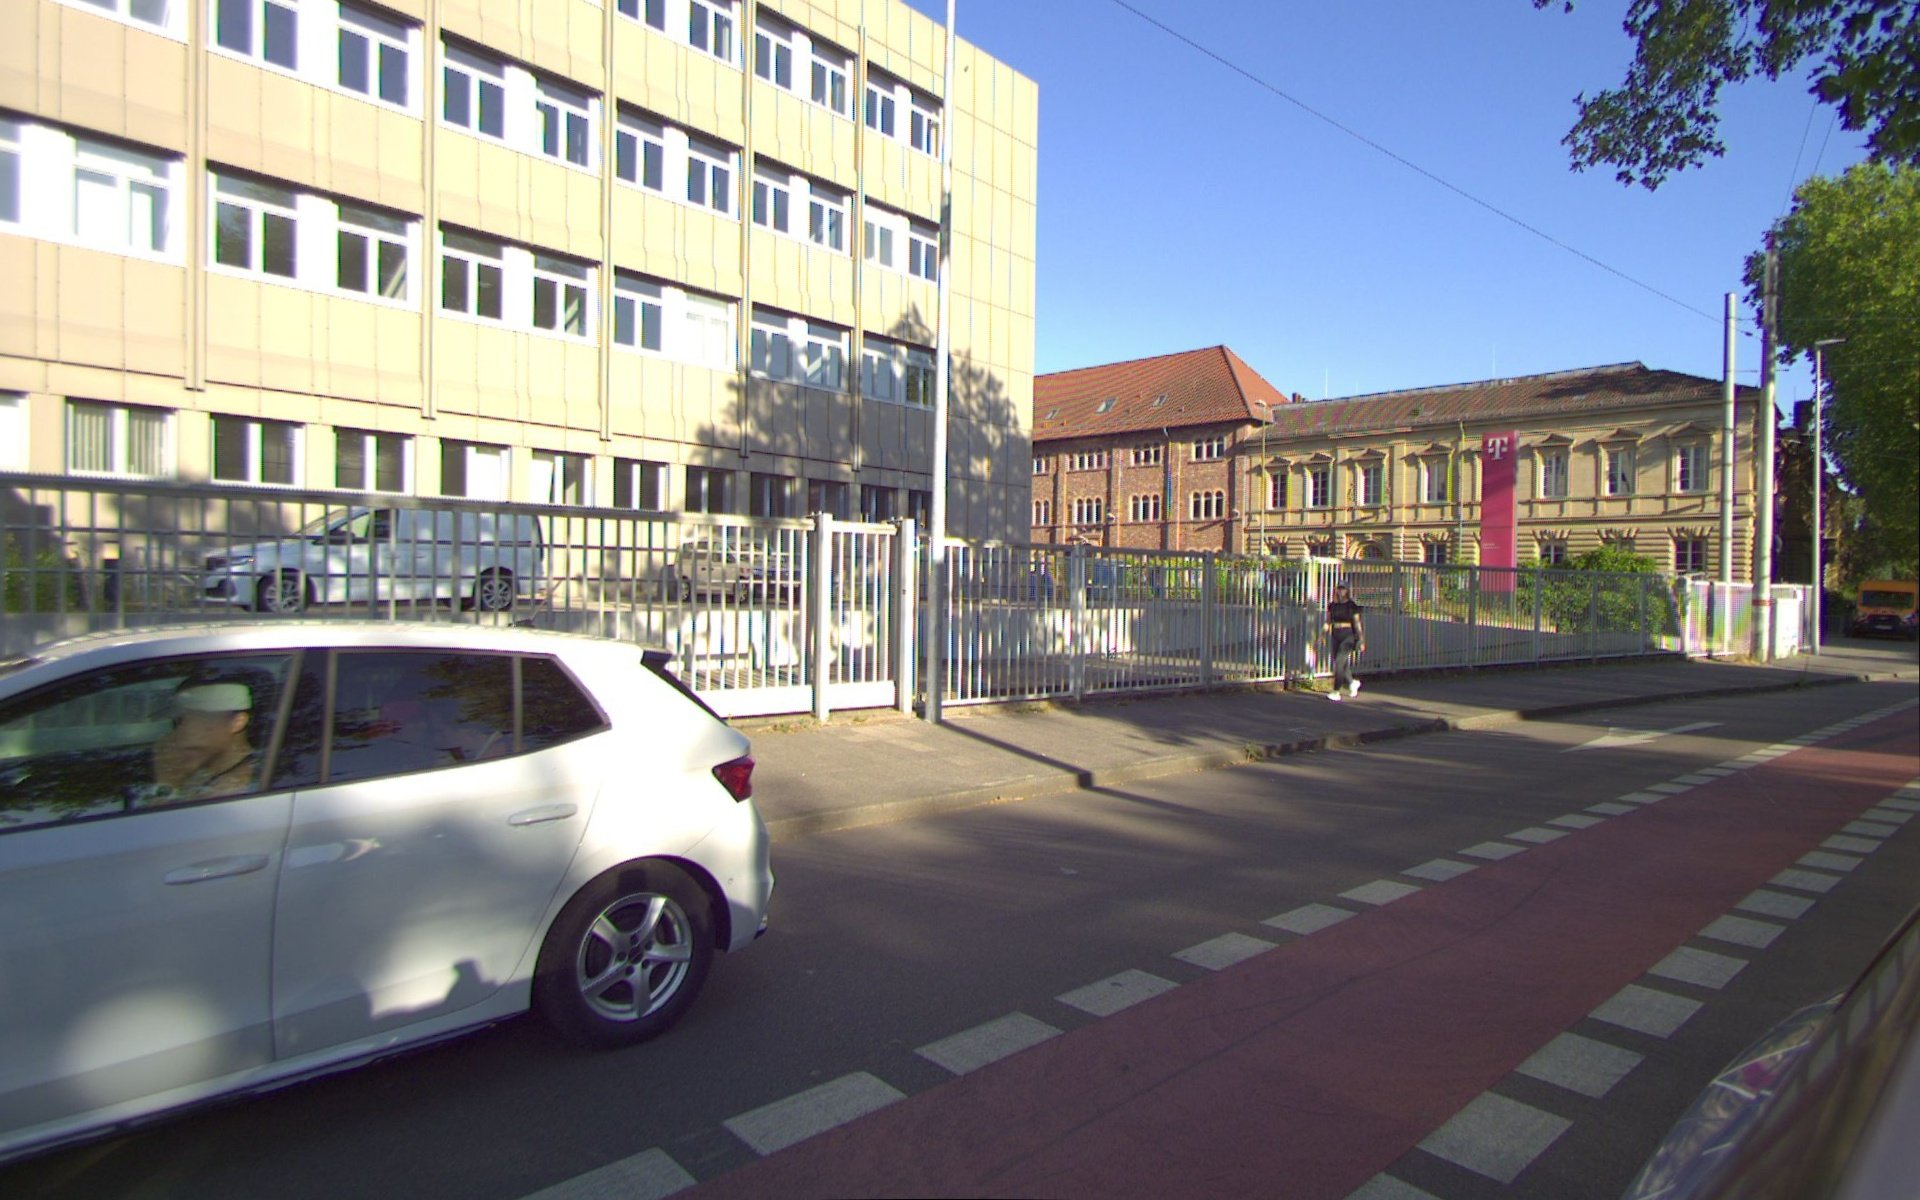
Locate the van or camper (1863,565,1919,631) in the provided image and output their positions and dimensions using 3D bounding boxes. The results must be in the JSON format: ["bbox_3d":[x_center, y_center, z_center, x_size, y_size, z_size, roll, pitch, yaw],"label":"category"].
[{"bbox_3d":[39.481,-0.087,42.417,5.678,2.591,2.037,0,1,-45],"label":"van or camper"}]

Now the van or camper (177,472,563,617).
[{"bbox_3d":[-9.115,-0.783,16.004,1.980,1.932,4.922,3,2,43],"label":"van or camper"}]

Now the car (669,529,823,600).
[{"bbox_3d":[-5.737,-0.929,26.870,4.252,1.739,1.962,2,2,44],"label":"car"}]

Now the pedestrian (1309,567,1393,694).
[{"bbox_3d":[5.463,0.404,14.145,0.913,1.705,0.698,0,1,-38],"label":"pedestrian"}]

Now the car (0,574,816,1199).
[{"bbox_3d":[-2.586,0.689,3.187,3.914,1.520,1.804,0,0,-43],"label":"car"}]
